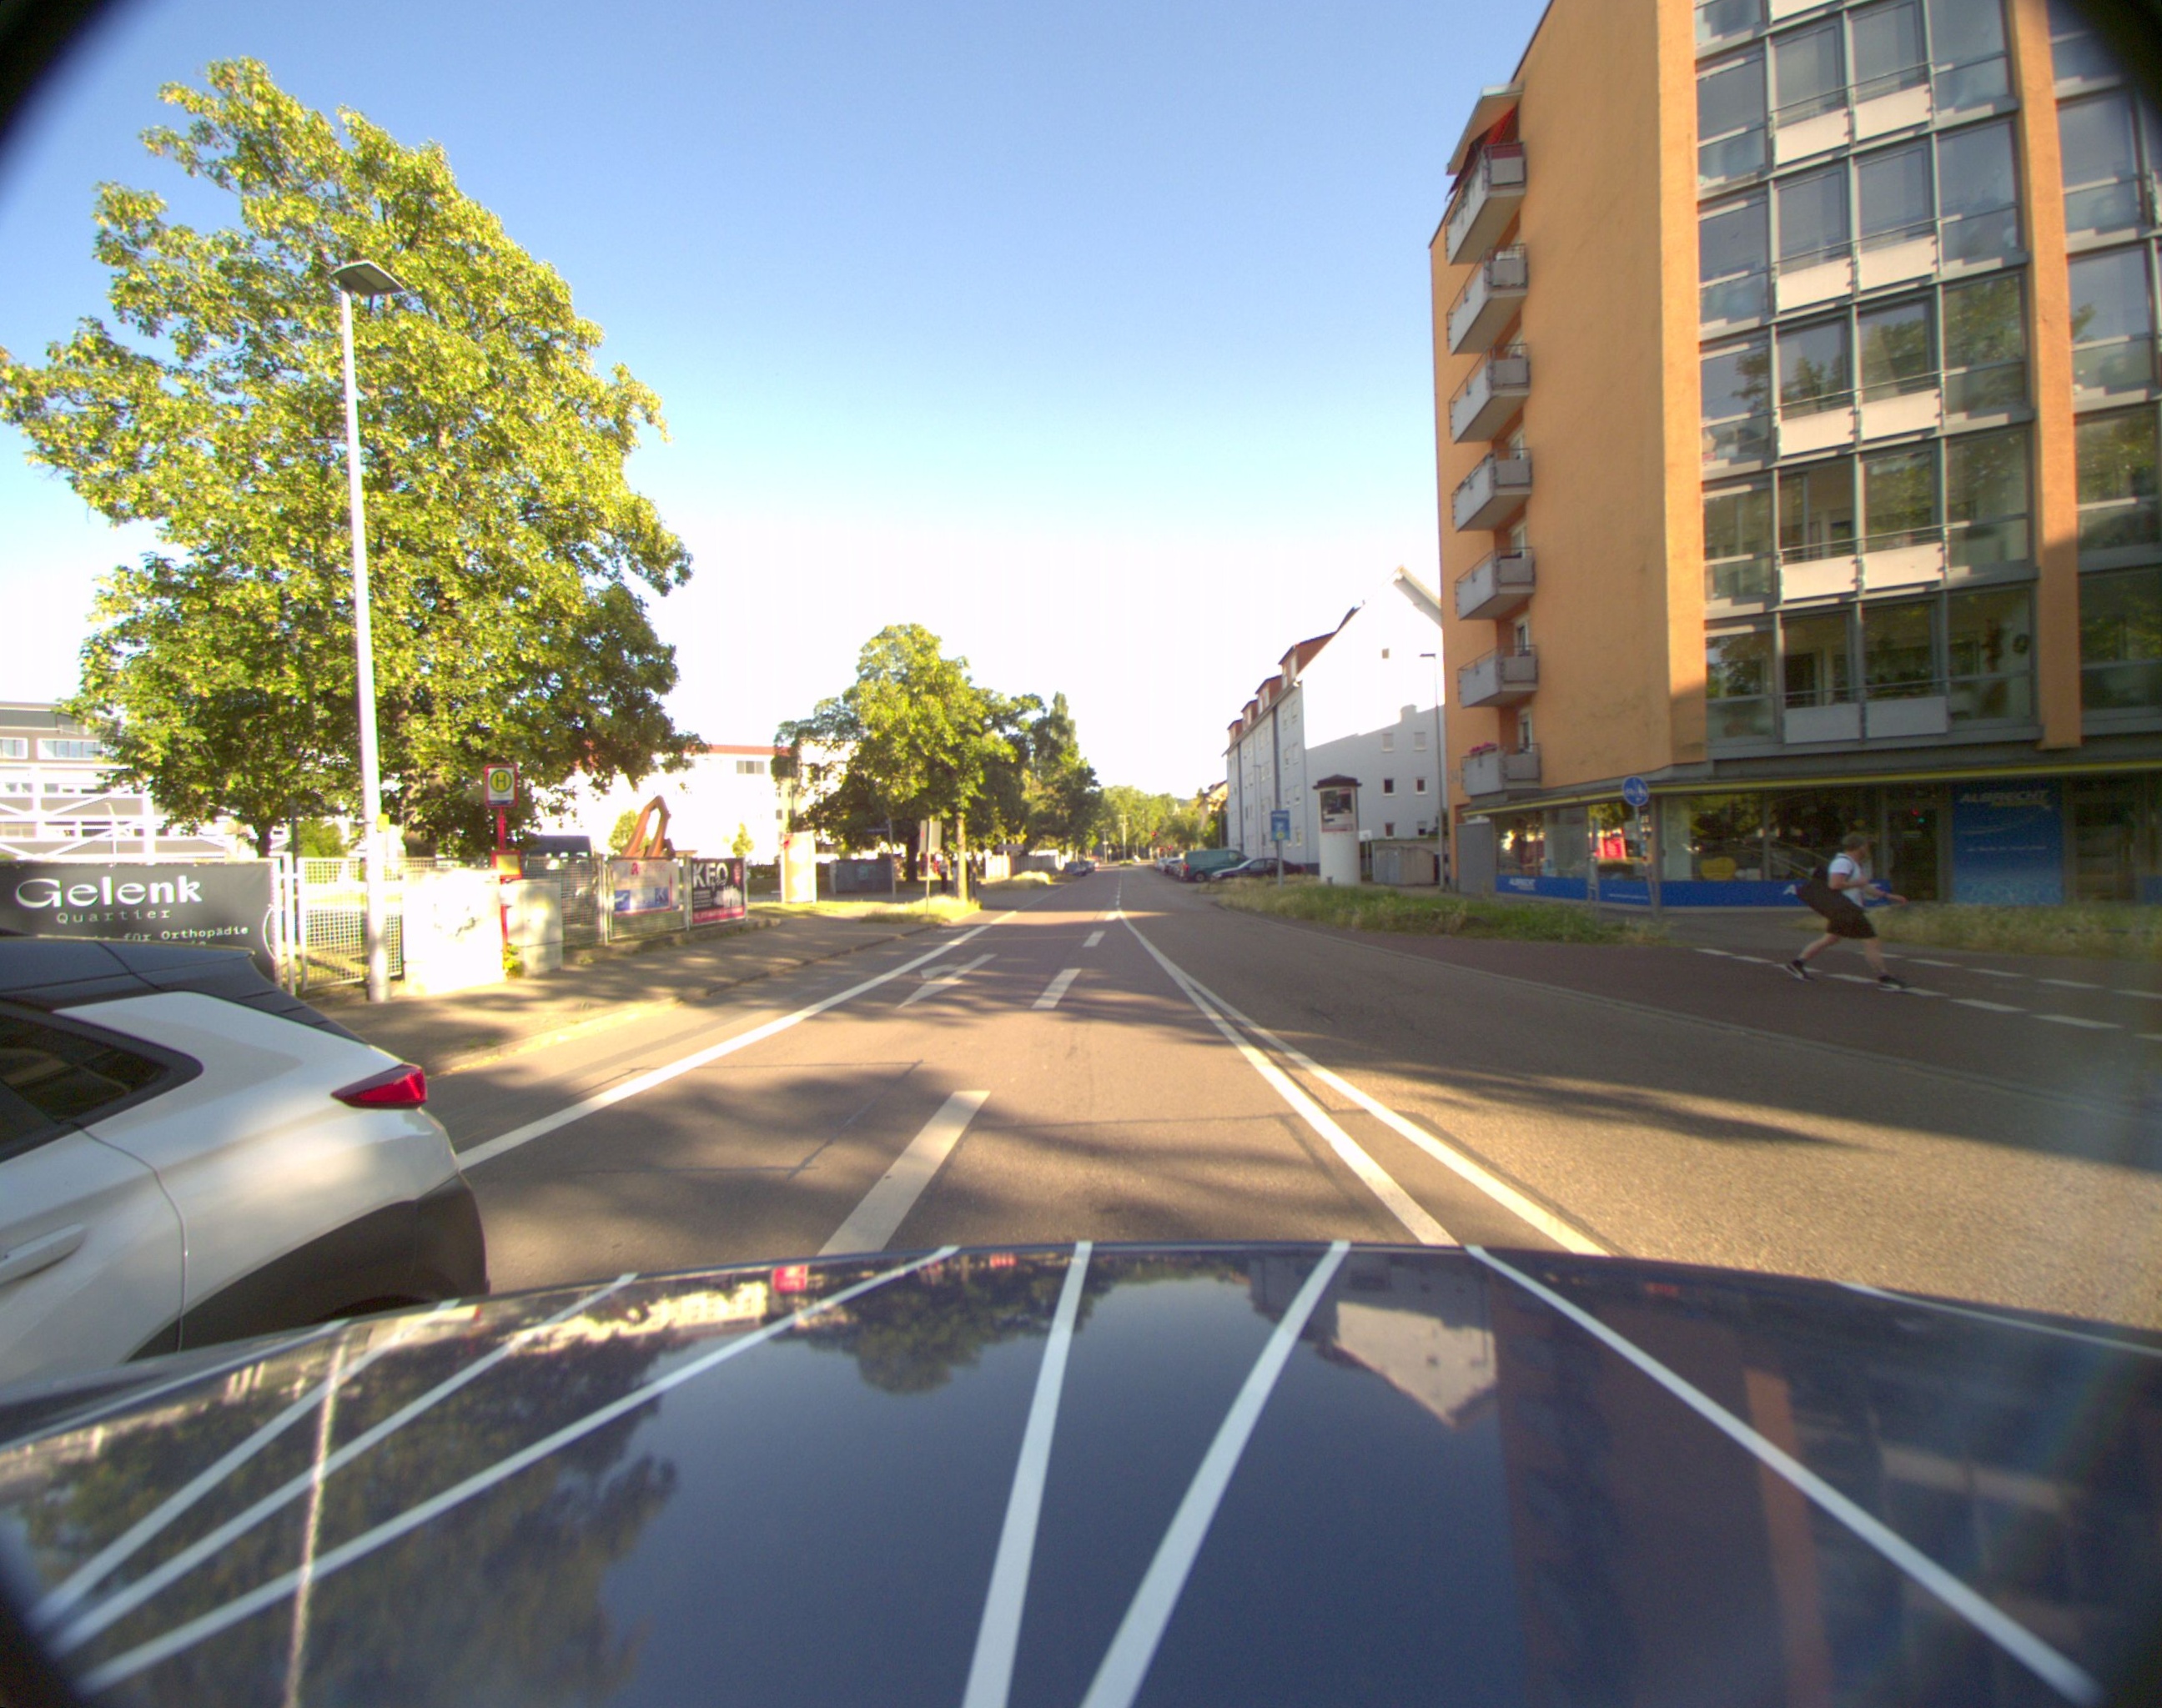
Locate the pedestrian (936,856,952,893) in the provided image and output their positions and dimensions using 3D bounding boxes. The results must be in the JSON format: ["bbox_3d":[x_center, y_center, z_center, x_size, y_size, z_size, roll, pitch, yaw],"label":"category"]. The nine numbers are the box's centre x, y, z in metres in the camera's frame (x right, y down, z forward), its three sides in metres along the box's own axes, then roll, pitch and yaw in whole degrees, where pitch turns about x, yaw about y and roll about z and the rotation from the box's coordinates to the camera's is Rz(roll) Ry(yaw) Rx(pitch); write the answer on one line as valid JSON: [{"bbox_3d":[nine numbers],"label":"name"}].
[{"bbox_3d":[-6.638,0.979,36.851,0.609,1.727,0.638,-2,1,-5],"label":"pedestrian"}]

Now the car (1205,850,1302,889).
[{"bbox_3d":[8.298,0.726,36.865,4.423,1.652,2.001,-2,1,9],"label":"car"}]

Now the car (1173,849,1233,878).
[{"bbox_3d":[8.572,0.661,53.684,4.059,1.805,1.937,-2,1,5],"label":"car"}]

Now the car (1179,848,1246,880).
[{"bbox_3d":[8.358,0.617,48.578,3.995,1.805,2.000,-2,1,5],"label":"car"}]

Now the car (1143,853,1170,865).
[{"bbox_3d":[10.471,0.694,105.233,3.538,1.564,1.867,-2,1,5],"label":"car"}]

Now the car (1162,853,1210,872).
[{"bbox_3d":[9.570,0.766,69.365,4.257,1.564,1.867,-2,1,5],"label":"car"}]

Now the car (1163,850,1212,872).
[{"bbox_3d":[9.277,0.601,66.479,4.117,1.762,1.757,-2,1,5],"label":"car"}]

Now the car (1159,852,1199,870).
[{"bbox_3d":[10.262,0.717,80.057,4.071,1.741,1.899,-2,1,5],"label":"car"}]

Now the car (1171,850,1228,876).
[{"bbox_3d":[8.749,0.656,56.428,4.071,1.741,1.899,-2,1,5],"label":"car"}]

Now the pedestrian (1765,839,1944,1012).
[{"bbox_3d":[8.452,0.723,8.339,0.903,1.727,1.086,-3,1,-21],"label":"pedestrian"}]

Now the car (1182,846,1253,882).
[{"bbox_3d":[8.195,0.587,45.930,3.996,1.936,2.000,-2,1,4],"label":"car"}]

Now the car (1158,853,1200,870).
[{"bbox_3d":[10.310,0.748,79.922,4.257,1.564,1.867,-2,1,5],"label":"car"}]

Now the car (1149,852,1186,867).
[{"bbox_3d":[10.227,0.636,90.181,4.257,1.564,1.867,-2,1,5],"label":"car"}]

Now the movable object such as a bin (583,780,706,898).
[{"bbox_3d":[-22.228,-0.707,38.542,3.986,5.447,6.016,-3,1,-42],"label":"movable object such as a bin"}]

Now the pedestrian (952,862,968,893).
[{"bbox_3d":[-5.807,1.122,36.484,0.609,1.426,0.639,-2,1,1],"label":"pedestrian"}]

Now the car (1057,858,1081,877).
[{"bbox_3d":[-1.087,1.211,69.587,1.998,1.521,3.999,-2,1,1],"label":"car"}]

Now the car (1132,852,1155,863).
[{"bbox_3d":[9.707,0.578,118.214,3.538,1.564,1.867,-2,1,5],"label":"car"}]

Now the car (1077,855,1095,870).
[{"bbox_3d":[0.572,0.942,87.968,1.998,1.521,3.999,-2,1,1],"label":"car"}]

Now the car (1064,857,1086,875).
[{"bbox_3d":[-0.584,1.143,73.935,1.998,1.521,3.999,-2,1,1],"label":"car"}]

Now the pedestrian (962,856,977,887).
[{"bbox_3d":[-6.115,0.965,41.744,0.696,1.659,0.638,-2,1,-11],"label":"pedestrian"}]

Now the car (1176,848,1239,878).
[{"bbox_3d":[8.501,0.581,51.334,3.995,1.805,2.000,-2,1,5],"label":"car"}]
